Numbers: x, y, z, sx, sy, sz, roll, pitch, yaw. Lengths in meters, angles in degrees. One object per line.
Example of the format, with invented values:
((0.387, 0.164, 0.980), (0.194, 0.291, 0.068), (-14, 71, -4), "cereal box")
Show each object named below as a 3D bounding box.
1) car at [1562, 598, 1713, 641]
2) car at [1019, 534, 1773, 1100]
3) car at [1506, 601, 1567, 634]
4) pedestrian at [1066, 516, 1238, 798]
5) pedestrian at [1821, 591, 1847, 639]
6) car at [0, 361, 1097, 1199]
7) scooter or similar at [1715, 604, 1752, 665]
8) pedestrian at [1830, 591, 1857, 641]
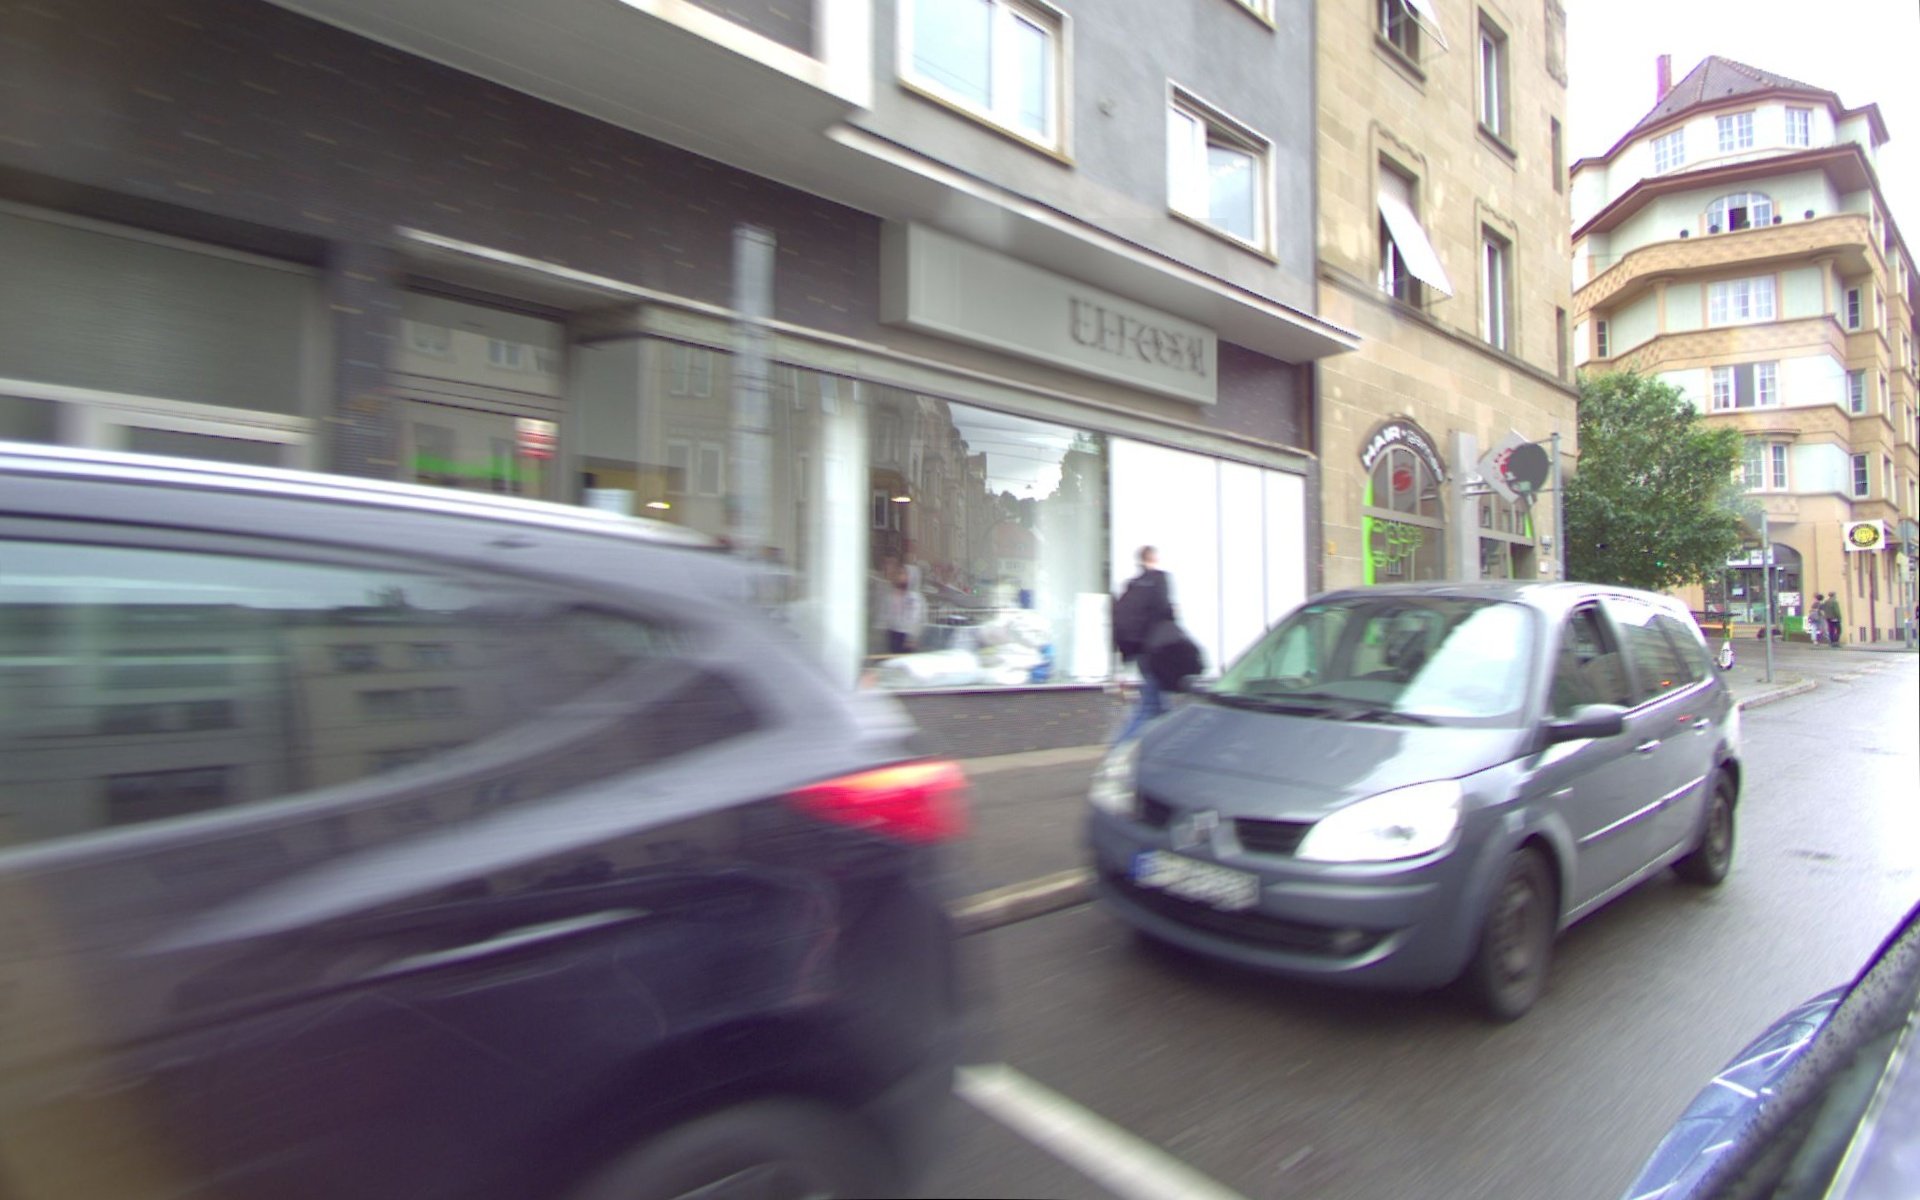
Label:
((21.873, 0.613, 32.793), (1.560, 1.295, 3.796), (0, -1, -40), "car")
((2.477, 0.612, 5.042), (4.440, 1.634, 1.713), (0, 1, -41), "car")
((24.103, 0.712, 42.435), (1.568, 1.295, 3.776), (0, -1, 20), "car")
((1.363, 0.362, 7.197), (0.832, 1.840, 0.852), (1, 0, -41), "pedestrian")
((28.996, 0.491, 33.572), (0.390, 1.592, 0.578), (1, -1, -41), "pedestrian")
((-1.898, 0.592, 1.297), (4.177, 1.675, 1.821), (0, 1, -41), "car")
((15.712, 0.674, 20.542), (0.422, 1.193, 1.431), (-1, -1, 44), "scooter or similar")
((28.862, 0.522, 33.063), (0.430, 1.592, 0.578), (1, -1, -41), "pedestrian")
